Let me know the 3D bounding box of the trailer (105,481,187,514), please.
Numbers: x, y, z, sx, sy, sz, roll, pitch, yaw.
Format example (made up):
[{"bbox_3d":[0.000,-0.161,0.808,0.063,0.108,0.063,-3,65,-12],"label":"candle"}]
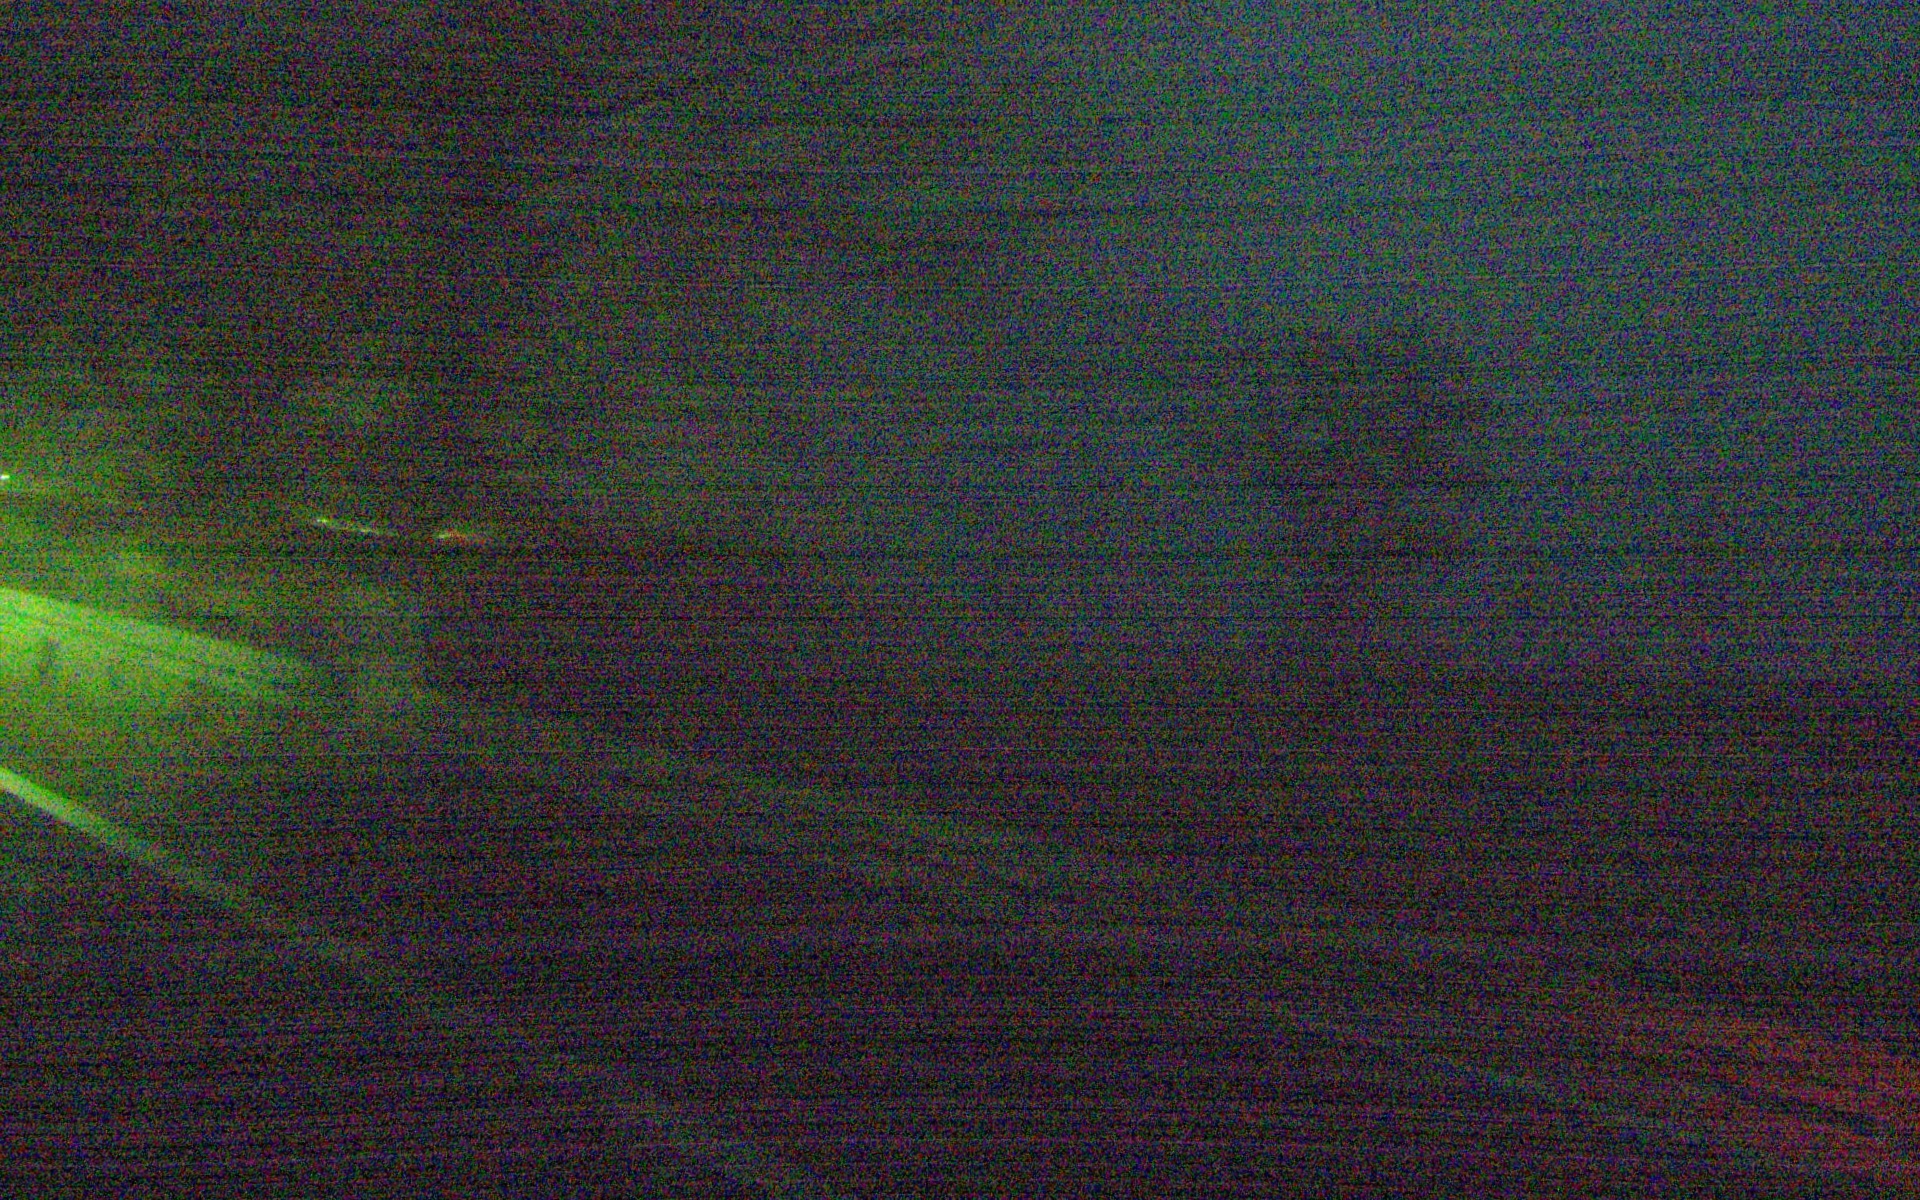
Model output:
[{"bbox_3d":[-105.719,-13.256,130.961,2.653,2.732,12.825,8,-1,-13],"label":"trailer"}]
